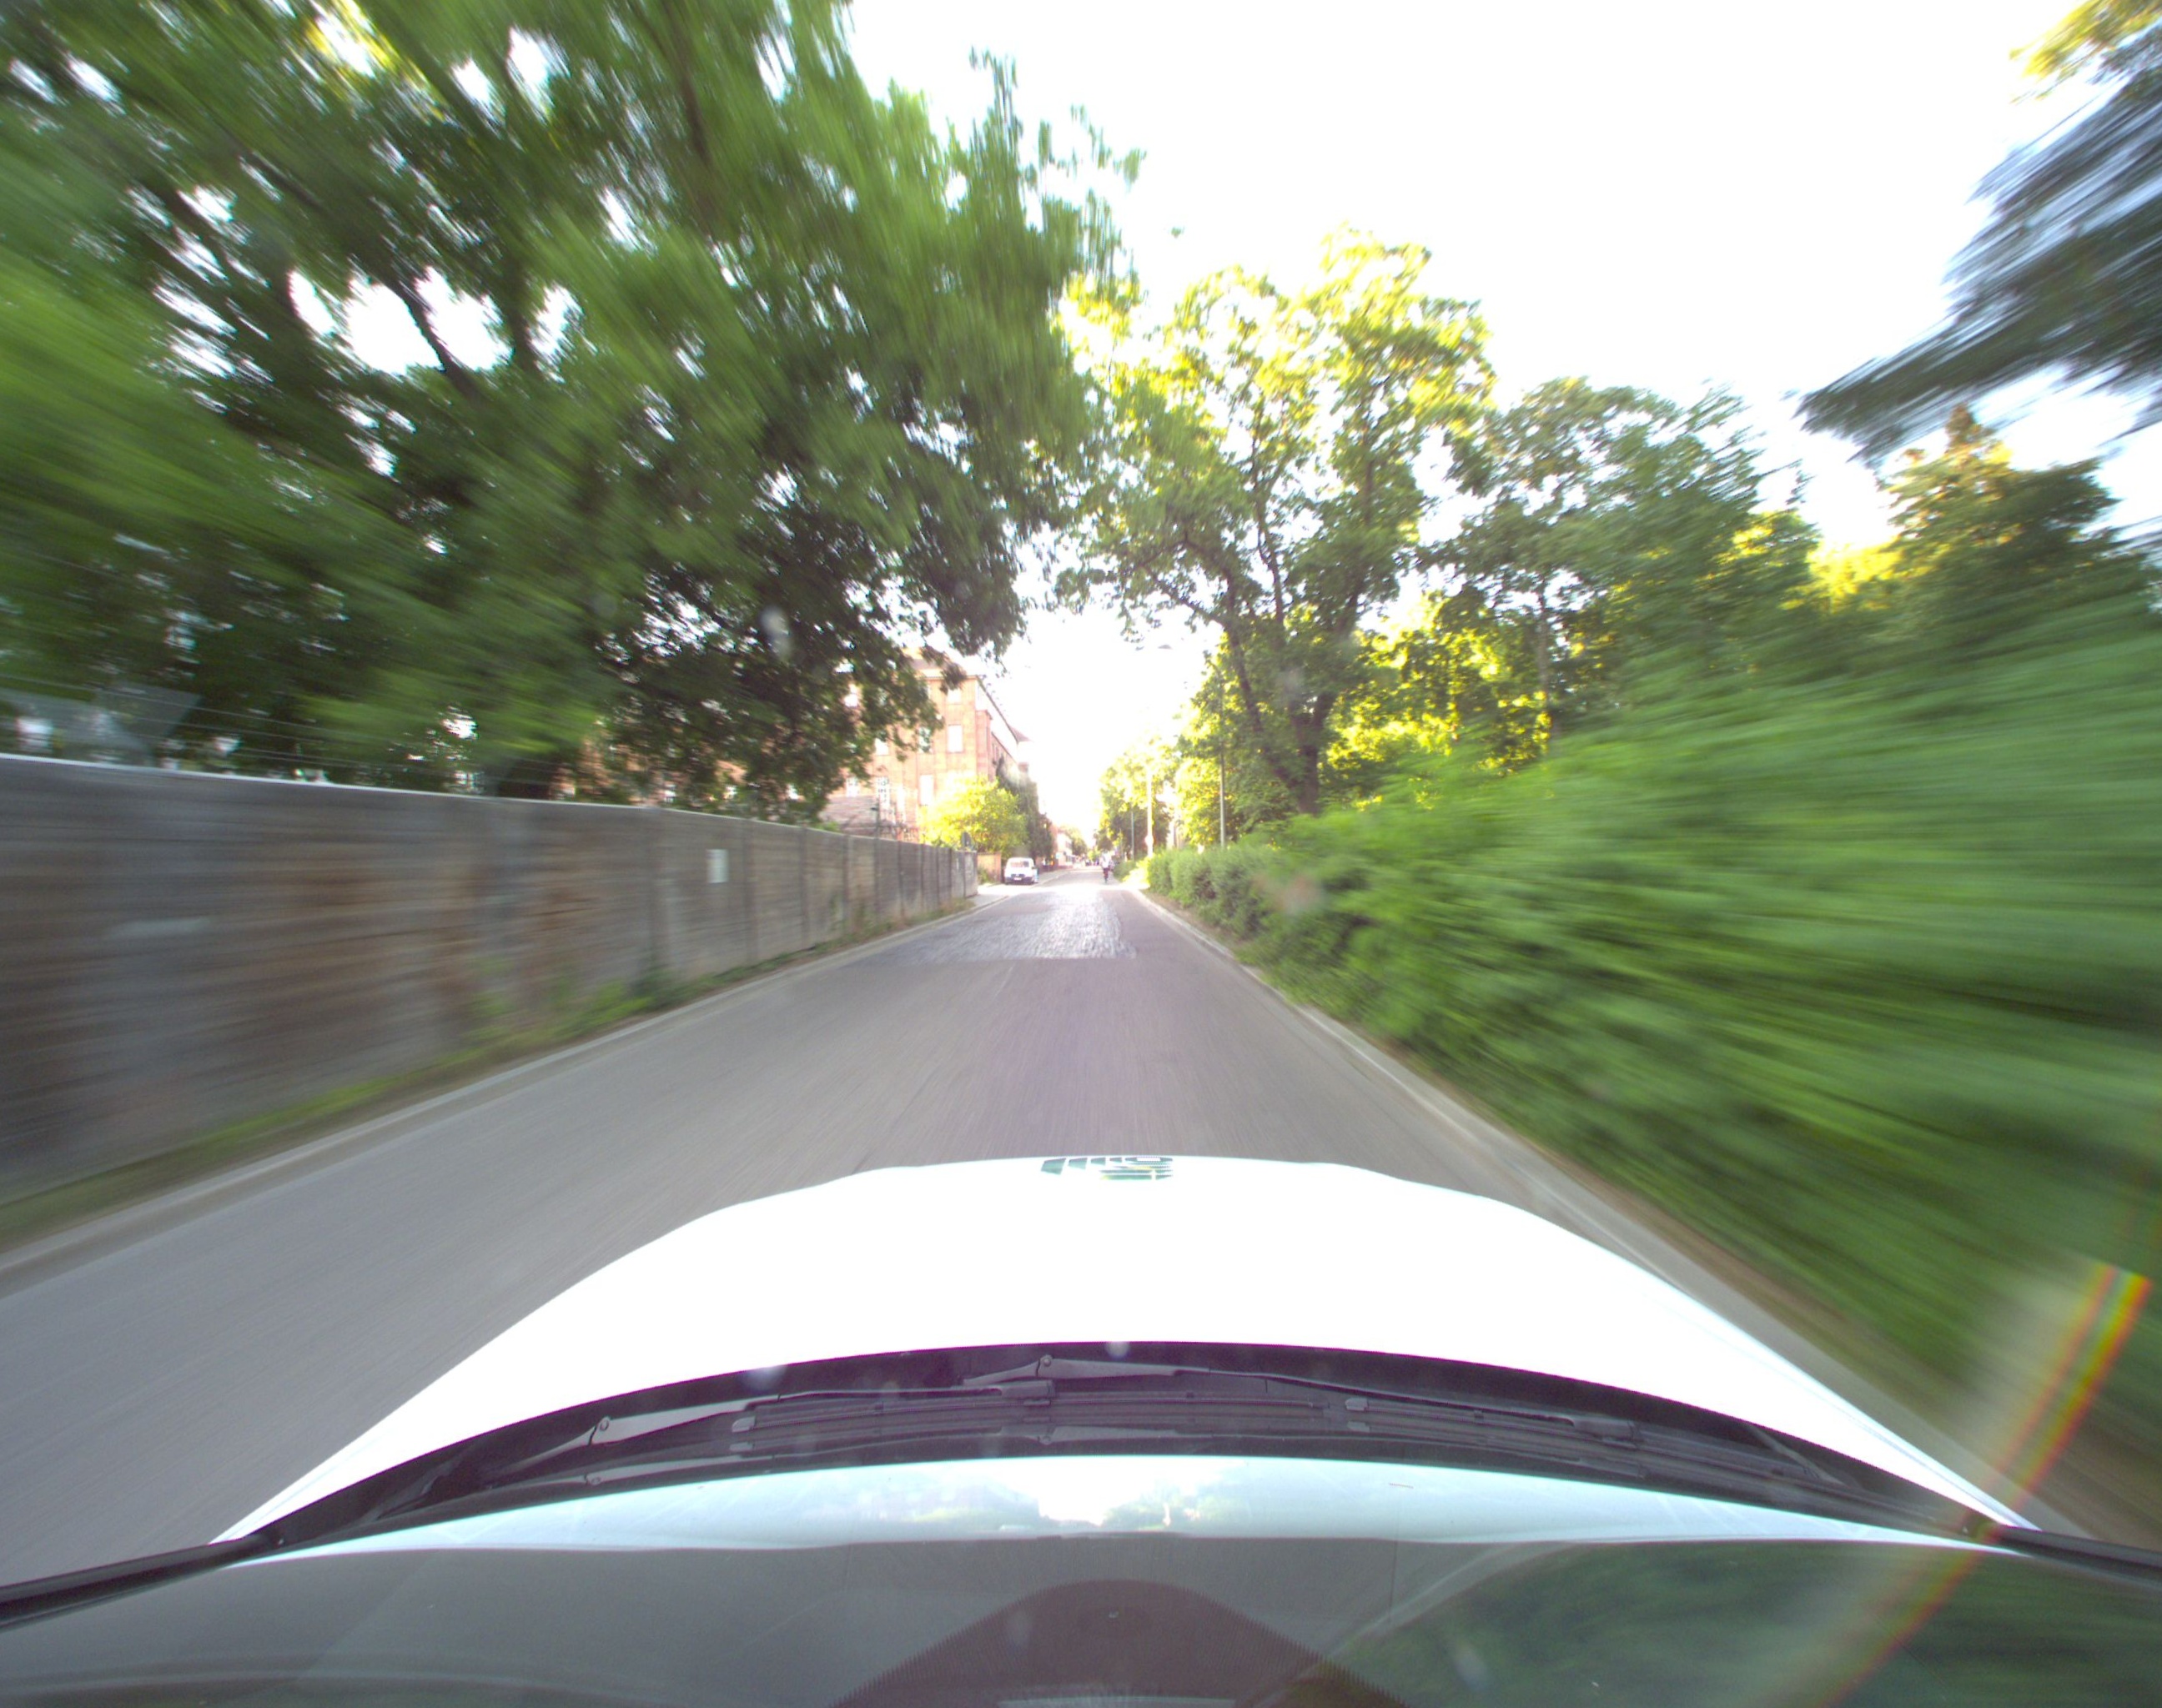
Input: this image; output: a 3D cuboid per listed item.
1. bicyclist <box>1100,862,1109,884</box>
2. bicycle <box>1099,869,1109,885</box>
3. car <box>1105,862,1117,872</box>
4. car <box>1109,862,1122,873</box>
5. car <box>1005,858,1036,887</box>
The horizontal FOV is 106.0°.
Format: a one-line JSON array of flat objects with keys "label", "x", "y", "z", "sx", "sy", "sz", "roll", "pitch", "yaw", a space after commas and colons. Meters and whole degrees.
[{"label": "bicyclist", "x": 1.739, "y": 1.414, "z": 61.475, "sx": 0.637, "sy": 1.667, "sz": 0.842, "roll": 0, "pitch": -1, "yaw": -1}, {"label": "bicycle", "x": 1.742, "y": 1.706, "z": 61.463, "sx": 0.636, "sy": 1.193, "sz": 1.875, "roll": 0, "pitch": -1, "yaw": -1}, {"label": "car", "x": 4.887, "y": 2.177, "z": 132.054, "sx": 1.711, "sy": 1.538, "sz": 4.046, "roll": -2, "pitch": -1, "yaw": -1}, {"label": "car", "x": 4.993, "y": 1.999, "z": 118.093, "sx": 1.680, "sy": 1.447, "sz": 3.669, "roll": -5, "pitch": -2, "yaw": -1}, {"label": "car", "x": -4.329, "y": 1.378, "z": 58.762, "sx": 1.877, "sy": 2.014, "sz": 5.223, "roll": 0, "pitch": -2, "yaw": -1}]
